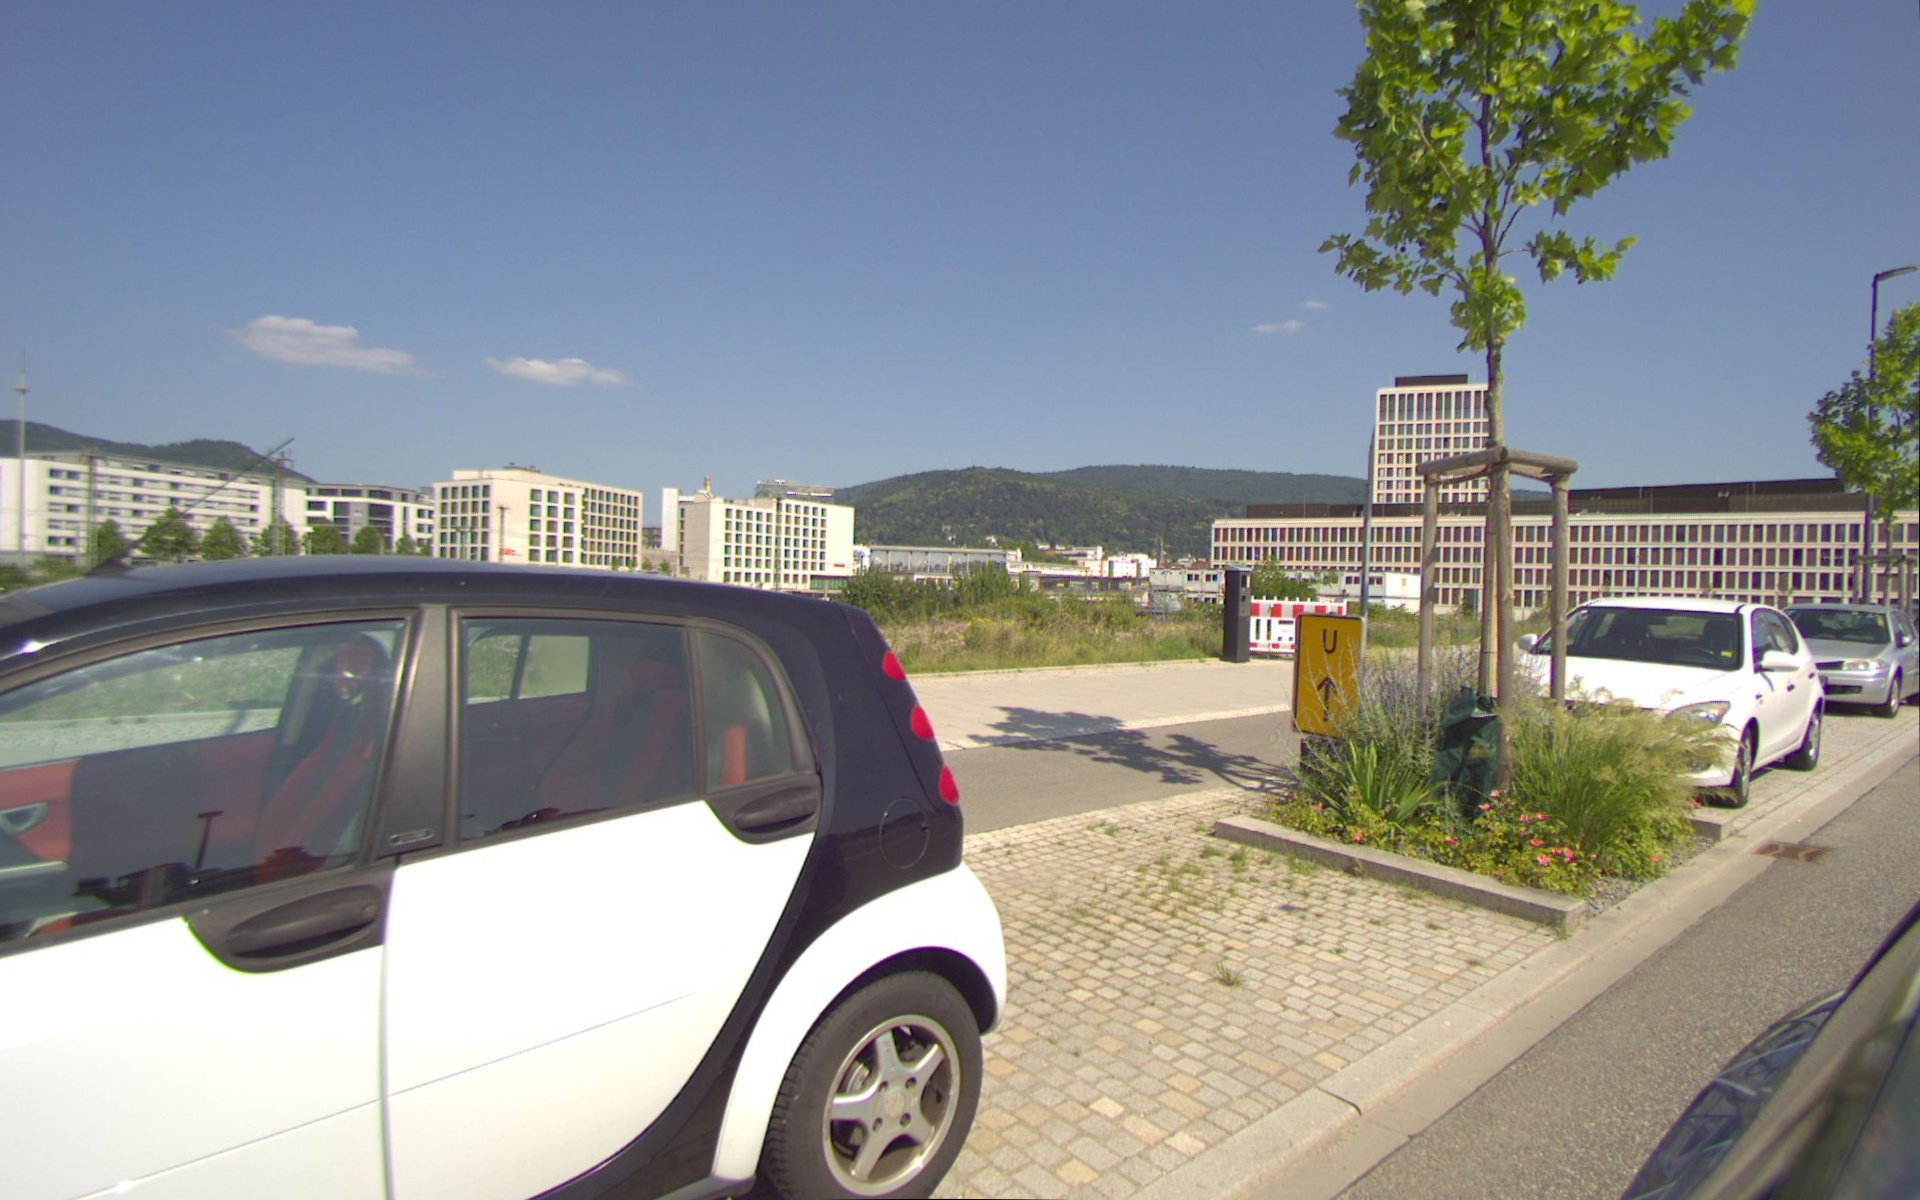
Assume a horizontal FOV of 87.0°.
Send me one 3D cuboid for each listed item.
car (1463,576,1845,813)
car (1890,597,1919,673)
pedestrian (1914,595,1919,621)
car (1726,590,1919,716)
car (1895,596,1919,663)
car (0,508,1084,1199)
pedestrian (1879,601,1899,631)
[{"bbox_3d":[5.957,0.610,8.506,3.932,1.528,1.749,1,0,-42],"label":"car"},{"bbox_3d":[20.777,0.715,21.108,4.299,1.495,1.790,1,0,-44],"label":"car"},{"bbox_3d":[63.378,0.512,66.664,0.639,1.727,0.733,0,0,-40],"label":"pedestrian"},{"bbox_3d":[12.625,0.656,14.269,4.081,1.497,1.914,1,1,-38],"label":"car"},{"bbox_3d":[25.090,0.753,25.266,4.081,1.597,1.914,1,1,-38],"label":"car"},{"bbox_3d":[-1.805,0.583,1.915,4.010,1.480,1.709,1,2,-39],"label":"car"},{"bbox_3d":[54.823,0.948,59.736,0.728,1.726,0.782,1,0,-40],"label":"pedestrian"}]
